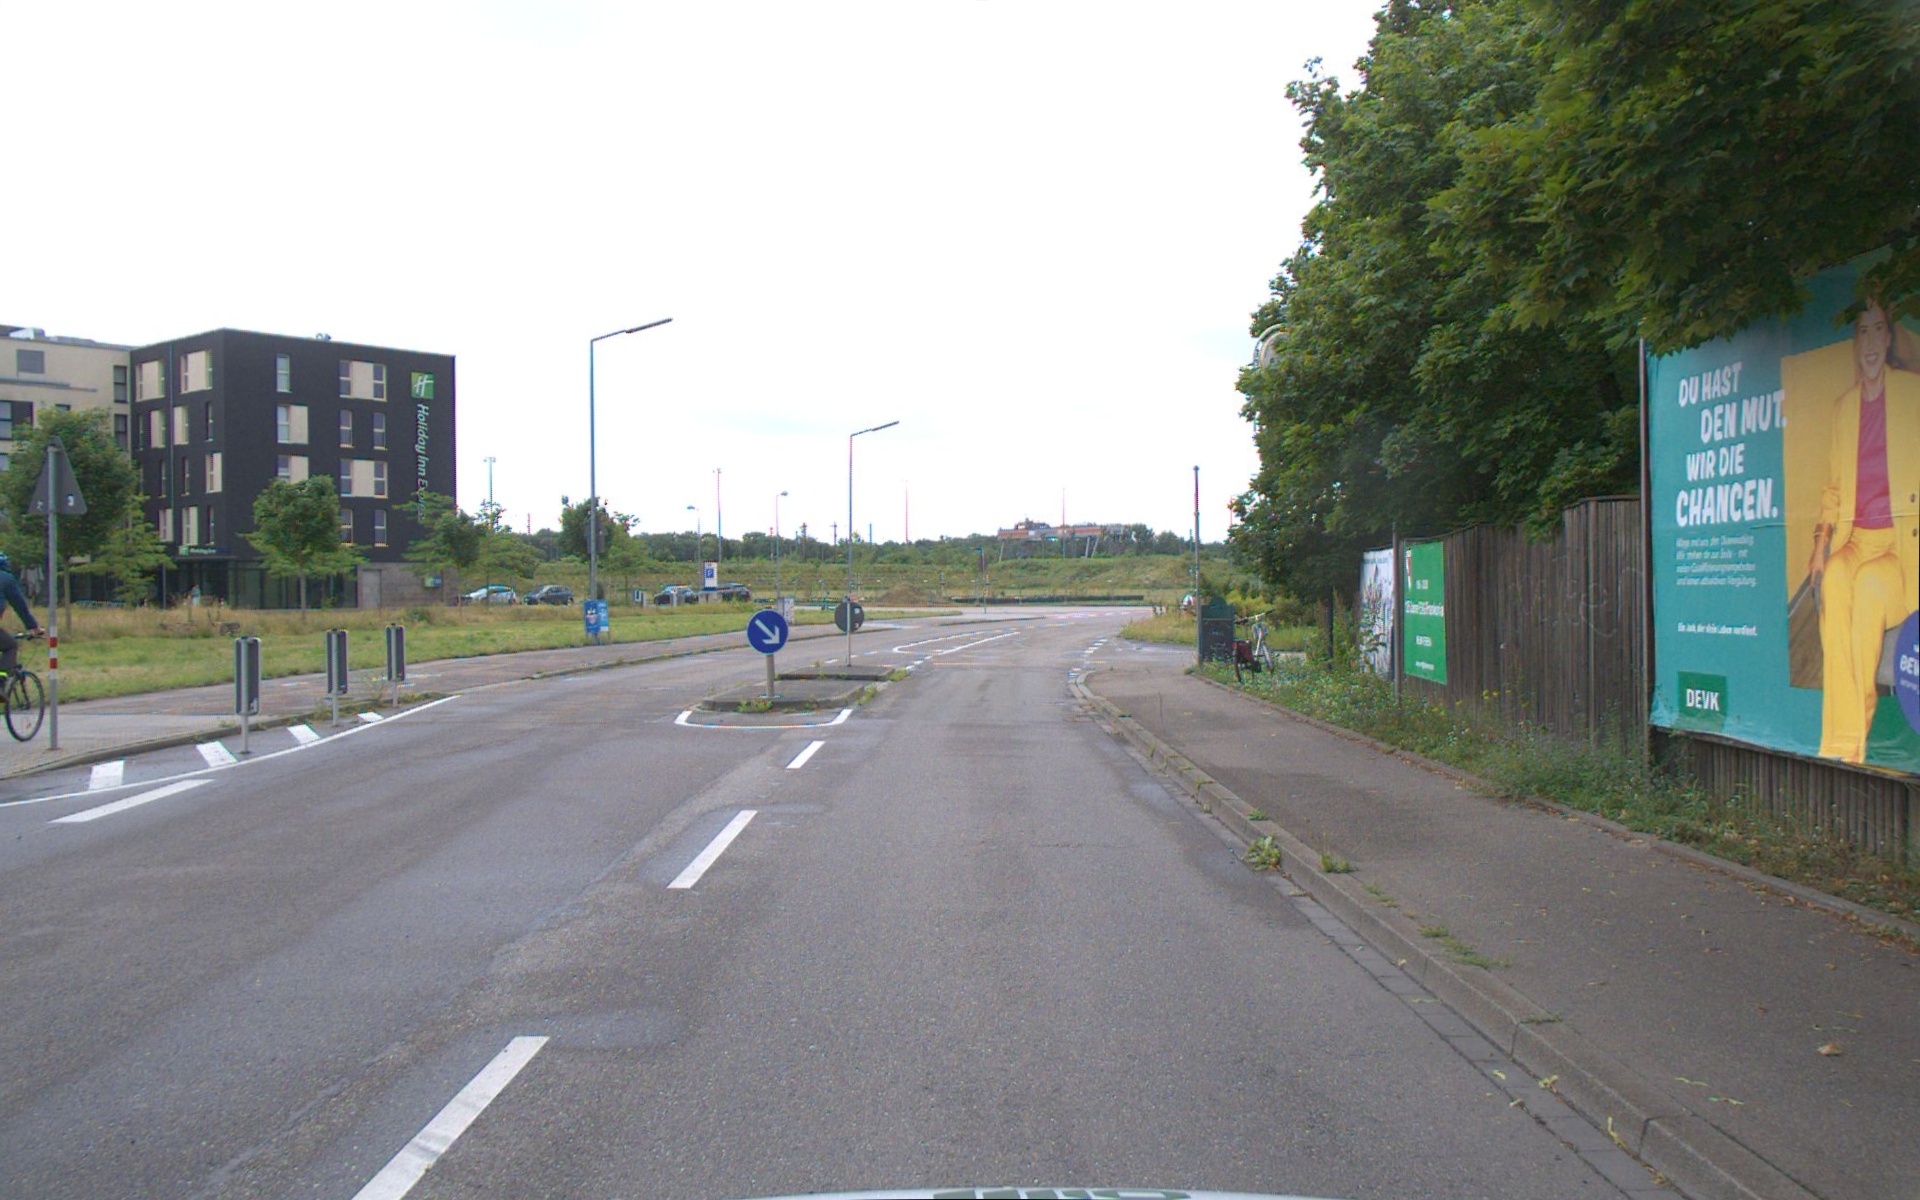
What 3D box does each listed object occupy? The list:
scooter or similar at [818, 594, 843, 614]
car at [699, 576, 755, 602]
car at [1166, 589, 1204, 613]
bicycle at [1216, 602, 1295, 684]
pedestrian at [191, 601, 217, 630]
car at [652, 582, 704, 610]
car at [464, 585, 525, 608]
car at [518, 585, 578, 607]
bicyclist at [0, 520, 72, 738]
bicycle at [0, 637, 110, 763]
[{"bbox_3d":[-8.042,0.234,102.504,1.431,1.188,0.572,0,1,14],"label":"scooter or similar"},{"bbox_3d":[-17.218,-0.819,122.305,3.927,1.854,1.989,0,2,41],"label":"car"},{"bbox_3d":[14.893,0.022,109.459,1.637,1.487,4.057,1,1,20],"label":"car"},{"bbox_3d":[4.408,0.615,24.564,0.779,1.130,1.952,-1,1,21],"label":"bicycle"},{"bbox_3d":[-42.833,0.886,93.708,0.931,1.598,0.876,-1,1,23],"label":"pedestrian"},{"bbox_3d":[-21.562,-0.326,126.340,1.985,2.048,3.934,-3,2,-44],"label":"car"},{"bbox_3d":[-34.832,-0.285,123.836,1.957,1.544,4.144,0,2,32],"label":"car"},{"bbox_3d":[-29.559,-0.304,118.802,1.665,1.467,3.983,0,2,38],"label":"car"},{"bbox_3d":[-9.432,0.269,16.163,0.844,2.048,1.177,-1,1,-2],"label":"bicyclist"},{"bbox_3d":[-9.422,0.972,16.246,0.866,1.070,2.469,-1,1,-1],"label":"bicycle"}]
